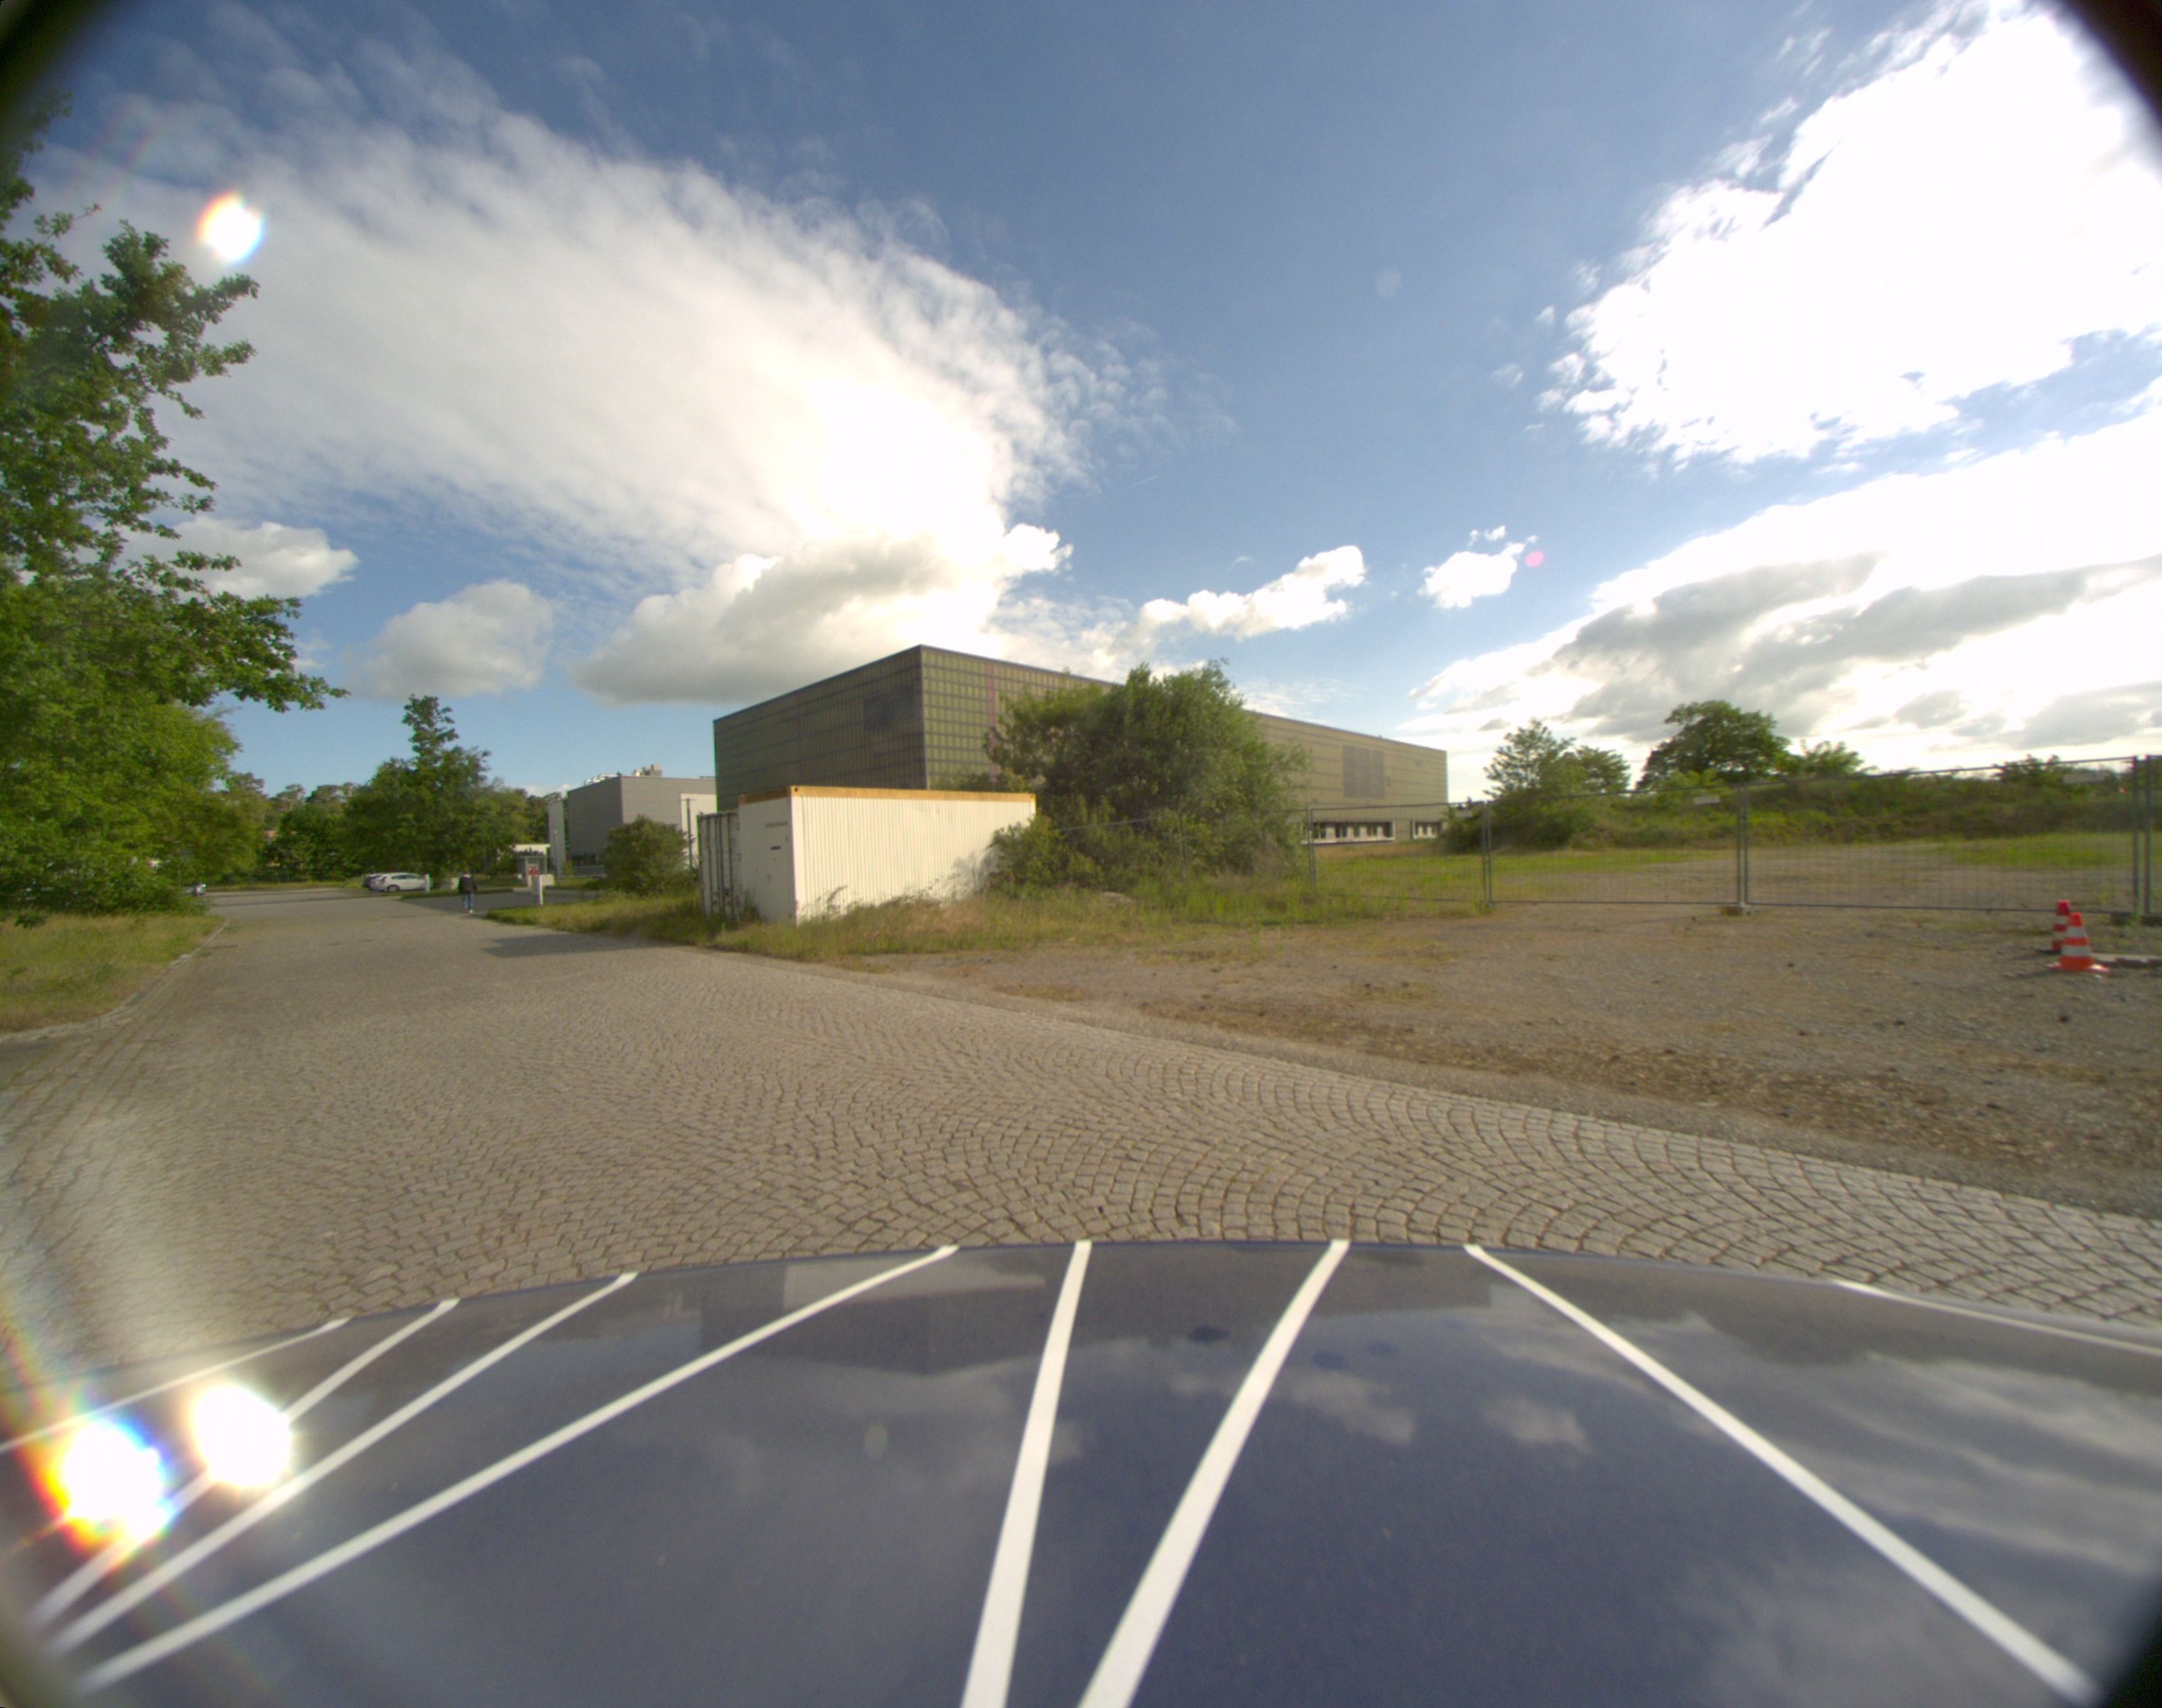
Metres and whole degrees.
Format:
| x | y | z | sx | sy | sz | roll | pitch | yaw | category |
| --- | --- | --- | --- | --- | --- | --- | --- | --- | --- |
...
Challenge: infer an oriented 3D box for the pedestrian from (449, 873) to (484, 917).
| x | y | z | sx | sy | sz | roll | pitch | yaw | category |
| --- | --- | --- | --- | --- | --- | --- | --- | --- | --- |
| -22.785 | 1.495 | 28.198 | 0.869 | 1.550 | 1.025 | -3 | 1 | -36 | pedestrian |

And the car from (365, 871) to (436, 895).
| x | y | z | sx | sy | sz | roll | pitch | yaw | category |
| --- | --- | --- | --- | --- | --- | --- | --- | --- | --- |
| -53.560 | 2.248 | 59.881 | 4.007 | 1.633 | 1.994 | -3 | 1 | -41 | car |

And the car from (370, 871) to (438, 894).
| x | y | z | sx | sy | sz | roll | pitch | yaw | category |
| --- | --- | --- | --- | --- | --- | --- | --- | --- | --- |
| -55.218 | 2.270 | 62.026 | 4.007 | 1.633 | 1.994 | -3 | 1 | -41 | car |
